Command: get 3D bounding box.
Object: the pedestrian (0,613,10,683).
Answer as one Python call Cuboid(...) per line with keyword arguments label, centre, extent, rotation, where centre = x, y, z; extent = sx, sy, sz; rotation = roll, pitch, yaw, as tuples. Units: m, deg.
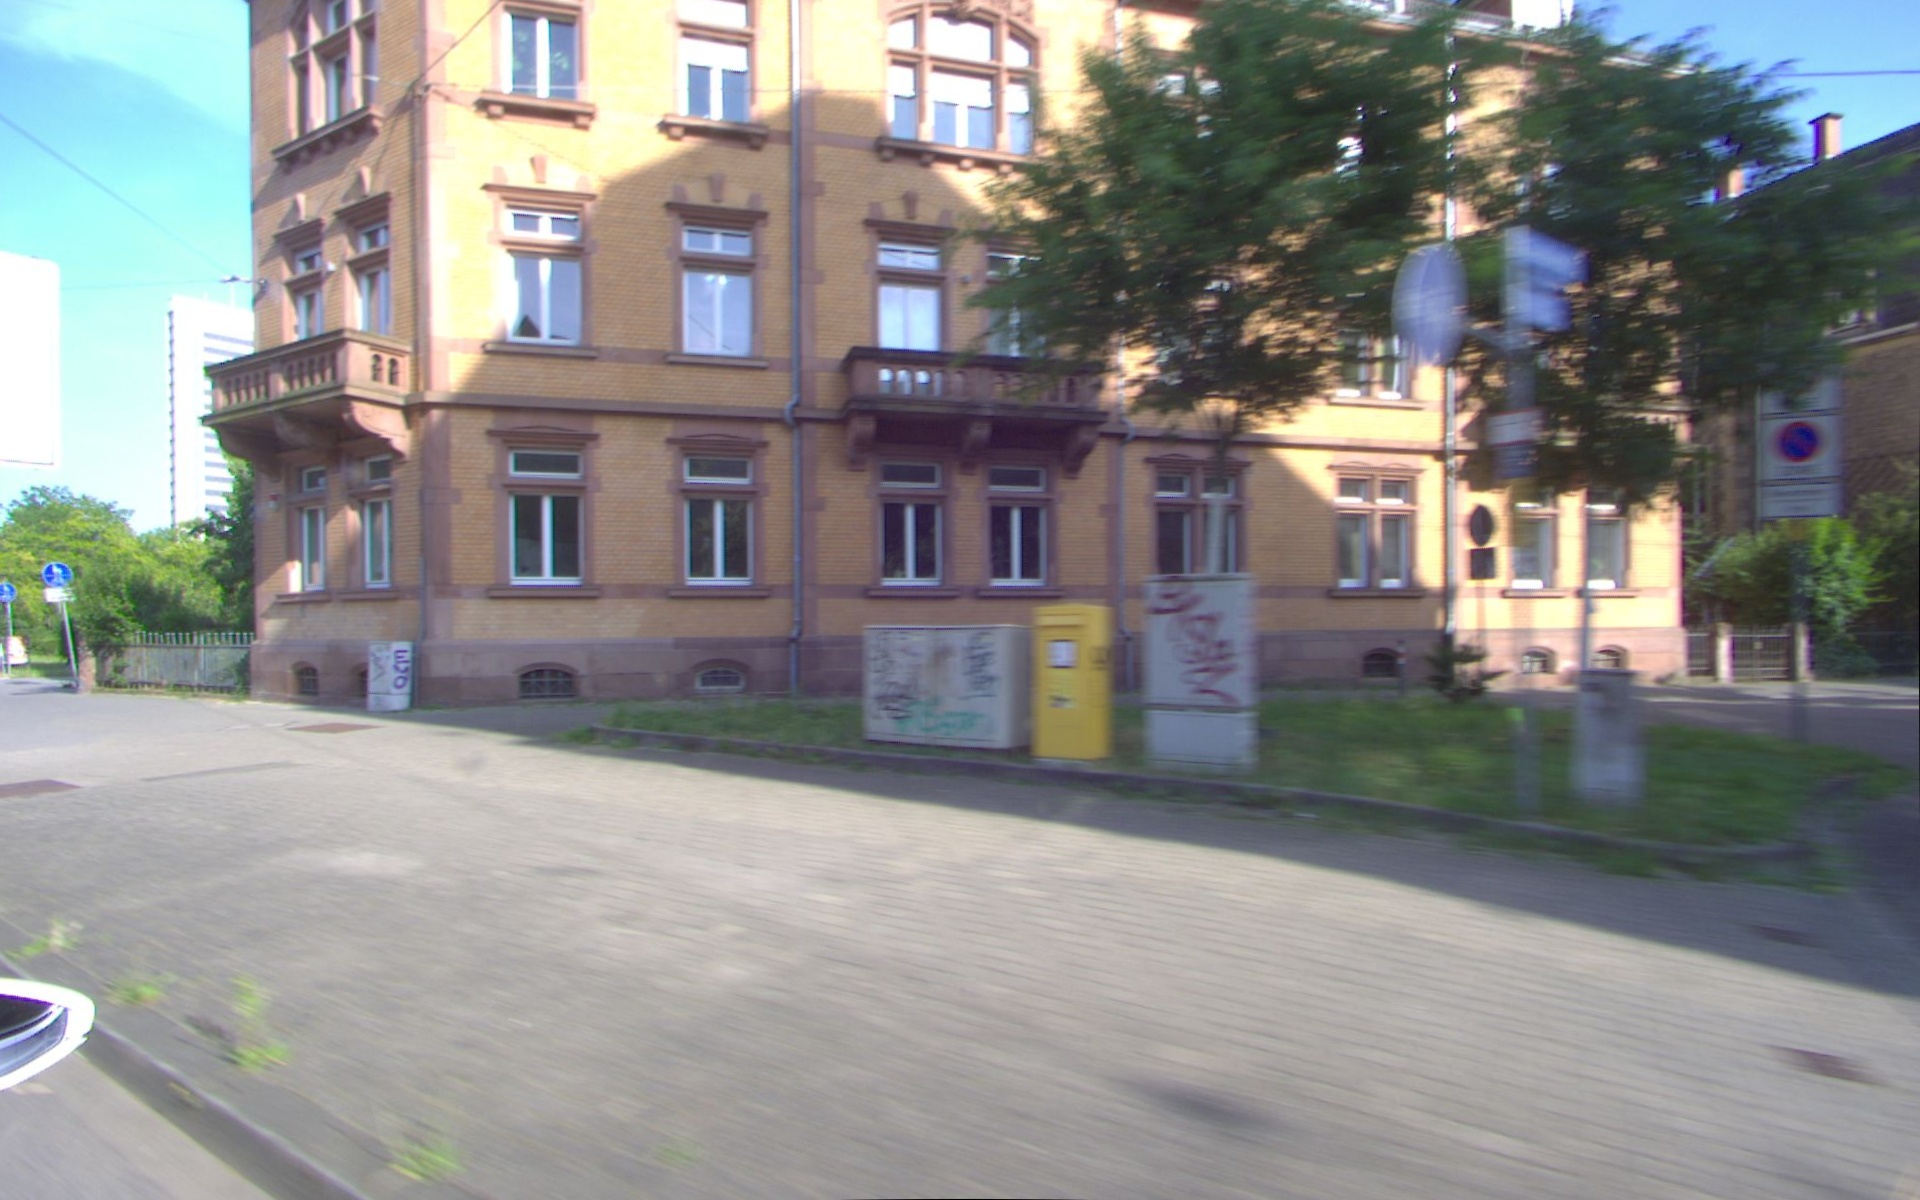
Cuboid(label="pedestrian", centre=(-23.931, 1.204, 24.616), extent=(0.541, 1.716, 0.613), rotation=(0, 5, 34))
